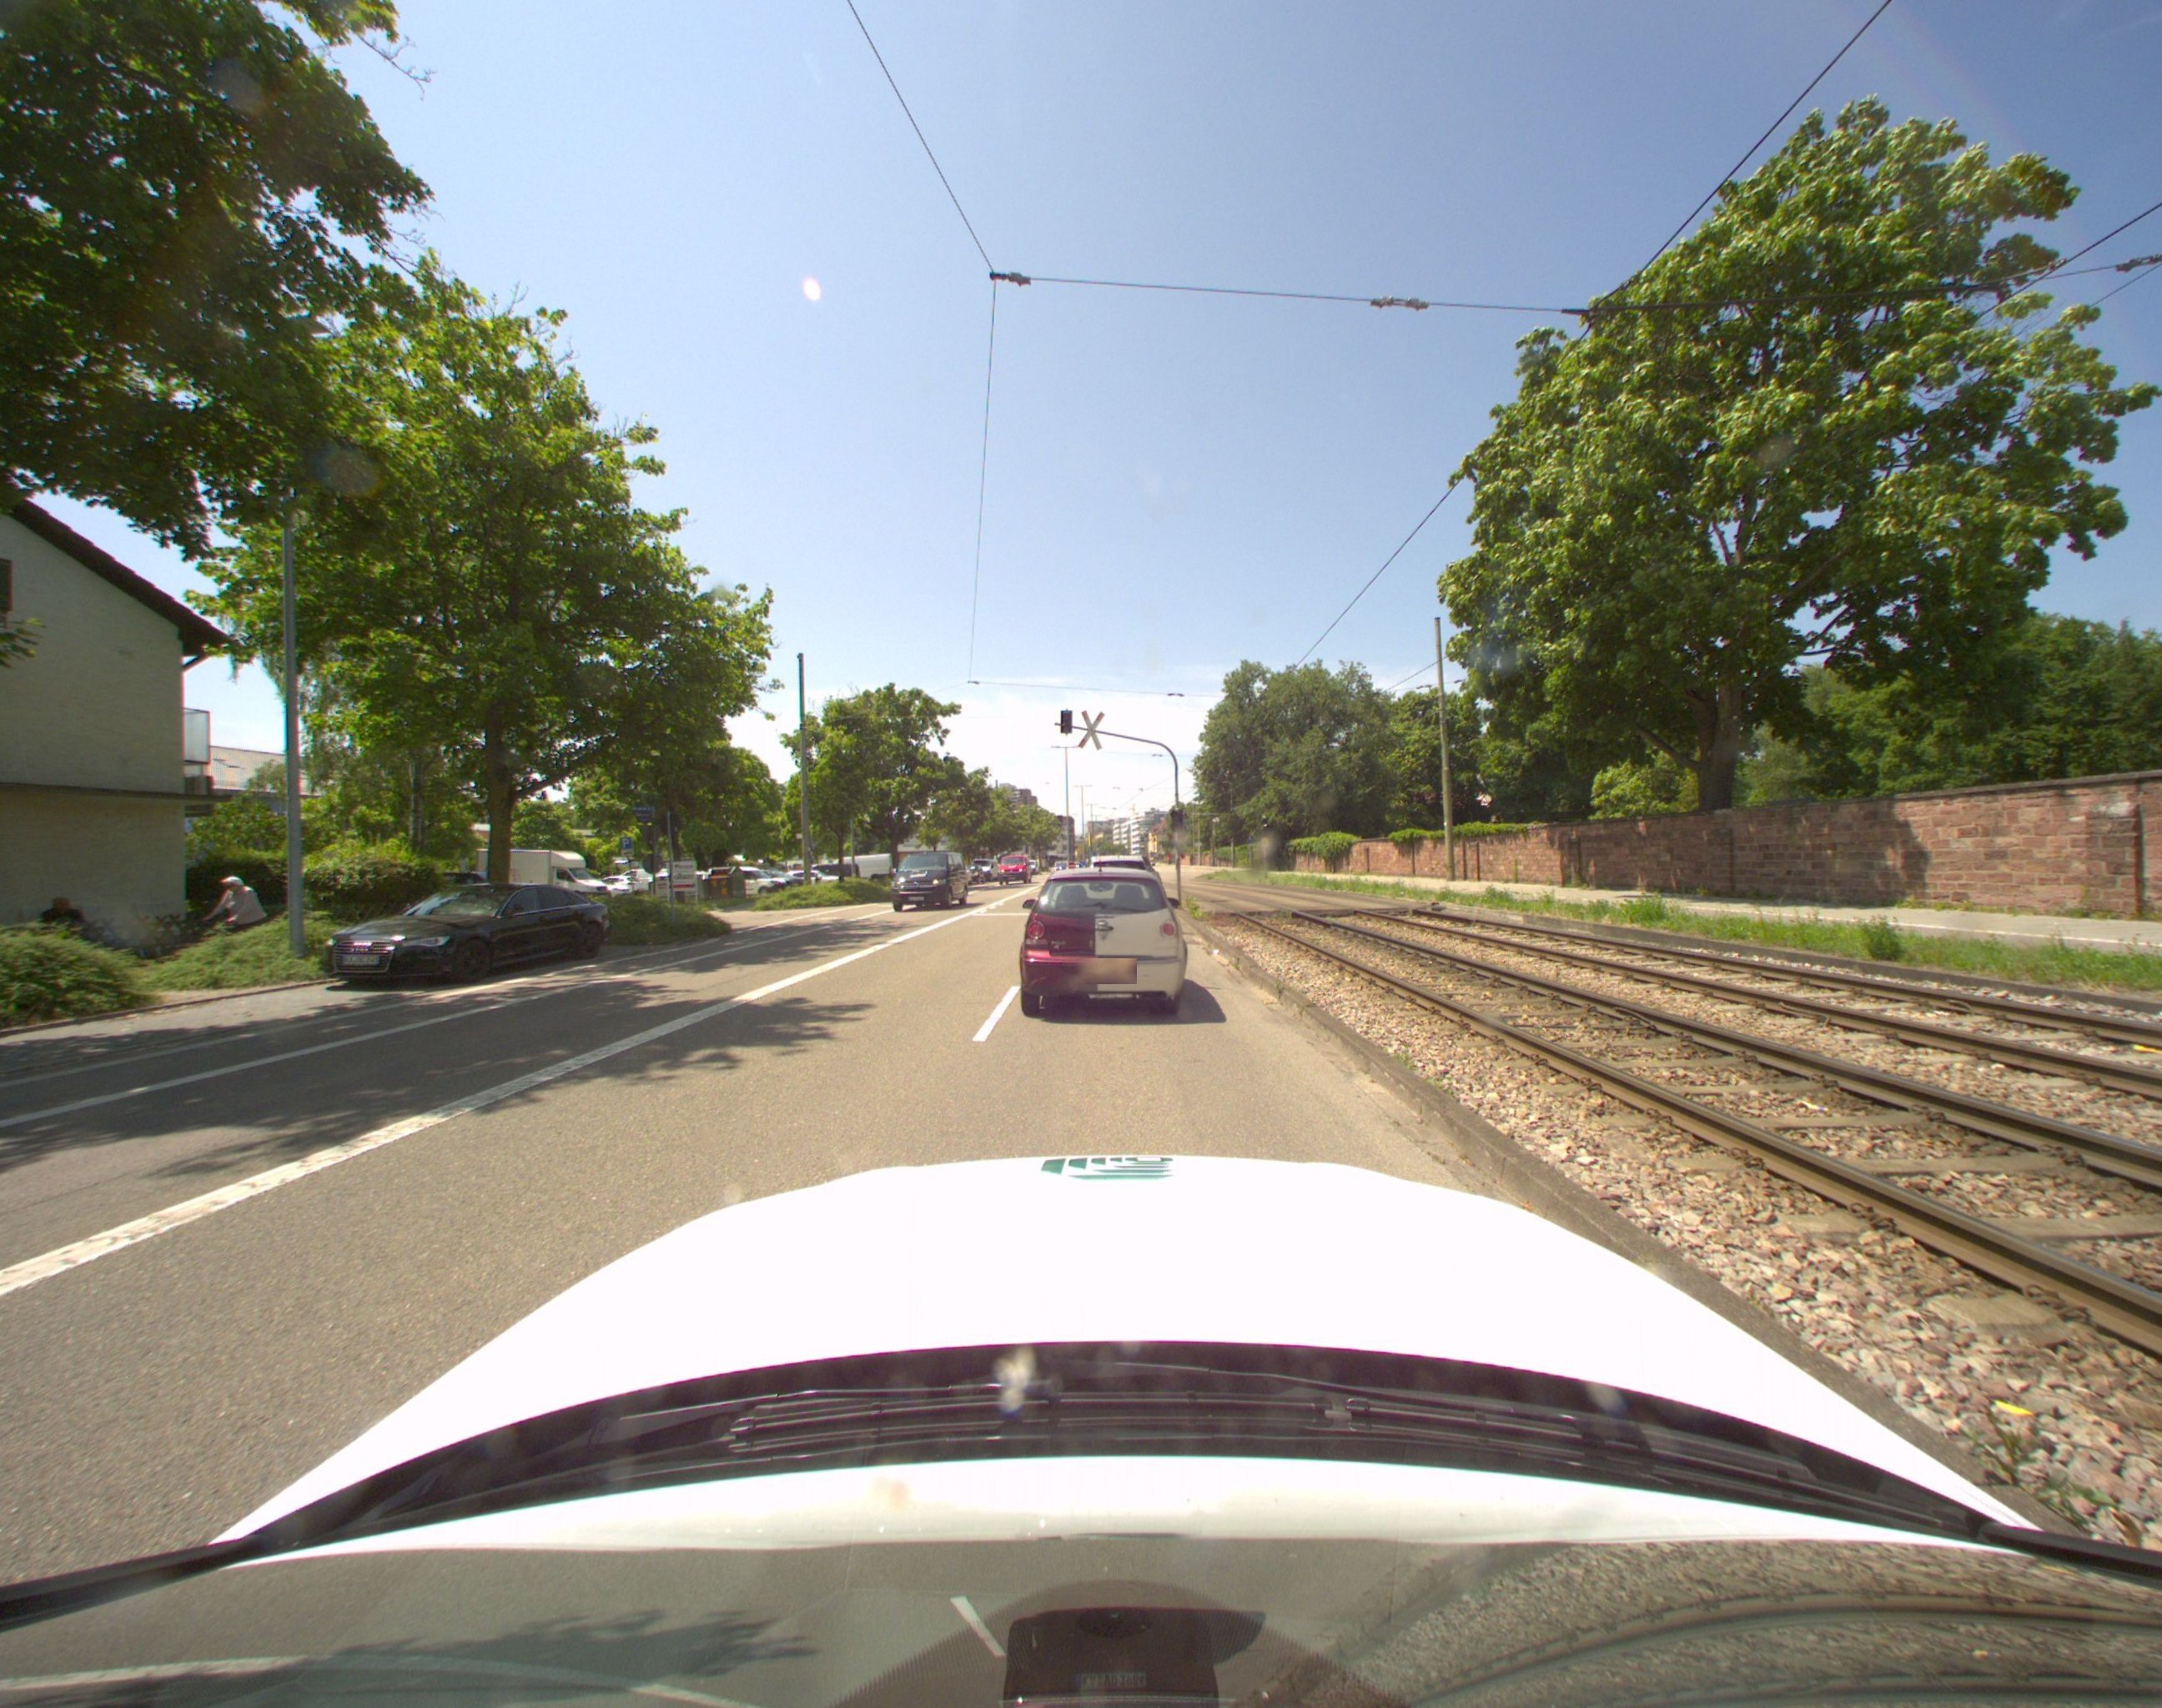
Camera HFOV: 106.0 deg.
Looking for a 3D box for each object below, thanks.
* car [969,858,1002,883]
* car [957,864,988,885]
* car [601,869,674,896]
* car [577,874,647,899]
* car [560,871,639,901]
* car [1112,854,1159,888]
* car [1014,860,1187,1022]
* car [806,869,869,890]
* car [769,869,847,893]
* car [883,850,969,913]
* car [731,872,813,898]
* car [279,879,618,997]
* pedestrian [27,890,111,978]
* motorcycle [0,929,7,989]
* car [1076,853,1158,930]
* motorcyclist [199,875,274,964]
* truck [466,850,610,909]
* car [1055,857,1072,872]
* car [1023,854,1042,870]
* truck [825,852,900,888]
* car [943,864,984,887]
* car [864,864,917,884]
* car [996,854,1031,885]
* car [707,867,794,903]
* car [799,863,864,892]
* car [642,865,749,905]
[{"bbox_3d":[-7.977,1.331,68.337,1.854,1.937,4.810,2,0,4],"label":"car"},{"bbox_3d":[-8.264,1.575,62.202,1.607,1.484,3.789,2,0,4],"label":"car"},{"bbox_3d":[-31.637,2.011,58.167,4.113,1.820,1.971,-1,-1,1],"label":"car"},{"bbox_3d":[-32.123,2.213,55.839,3.733,1.576,1.733,-1,0,1],"label":"car"},{"bbox_3d":[-31.440,2.073,53.209,4.113,1.820,1.647,-1,0,1],"label":"car"},{"bbox_3d":[2.773,0.811,40.779,1.762,1.631,4.013,-1,0,12],"label":"car"},{"bbox_3d":[0.233,0.827,9.620,1.604,1.498,4.001,-1,0,1],"label":"car"},{"bbox_3d":[-18.749,1.938,62.876,4.196,1.411,1.856,-2,0,0],"label":"car"},{"bbox_3d":[-19.214,1.880,57.554,4.745,1.488,2.058,-2,0,0],"label":"car"},{"bbox_3d":[-5.210,0.889,28.034,1.911,1.910,4.572,-3,0,1],"label":"car"},{"bbox_3d":[-18.767,1.878,49.647,4.186,1.403,2.079,-2,0,-3],"label":"car"},{"bbox_3d":[-9.974,1.219,13.494,1.888,1.456,4.808,-1,0,-1],"label":"car"},{"bbox_3d":[-18.231,1.424,14.675,0.789,1.510,0.609,-2,-1,8],"label":"pedestrian"},{"bbox_3d":[-15.117,1.436,10.548,0.524,0.825,1.372,1,0,3],"label":"motorcycle"},{"bbox_3d":[0.855,0.839,19.995,1.789,1.683,4.001,-1,0,1],"label":"car"},{"bbox_3d":[-14.845,1.136,14.327,0.584,1.503,0.662,1,0,3],"label":"motorcyclist"},{"bbox_3d":[-31.987,1.470,48.138,6.954,3.227,2.150,-1,-1,0],"label":"truck"},{"bbox_3d":[-2.049,1.228,95.957,1.731,1.657,4.068,-3,-1,2],"label":"car"},{"bbox_3d":[-6.156,1.058,104.035,1.868,1.965,5.167,2,0,2],"label":"car"},{"bbox_3d":[-18.291,1.352,68.392,5.555,2.759,2.434,-2,-1,2],"label":"truck"},{"bbox_3d":[-8.217,1.486,57.380,1.711,1.427,4.777,-4,0,5],"label":"car"},{"bbox_3d":[-18.460,1.934,79.072,4.703,1.813,1.796,-2,-1,0],"label":"car"},{"bbox_3d":[-4.567,1.007,55.833,1.893,1.926,4.819,-3,0,0],"label":"car"},{"bbox_3d":[-18.857,1.767,46.591,4.248,1.835,1.675,-2,-1,3],"label":"car"},{"bbox_3d":[-18.505,1.744,60.482,4.196,1.995,1.856,-2,-1,0],"label":"car"},{"bbox_3d":[-19.718,1.554,41.841,4.437,1.857,2.059,-2,-1,-3],"label":"car"}]
